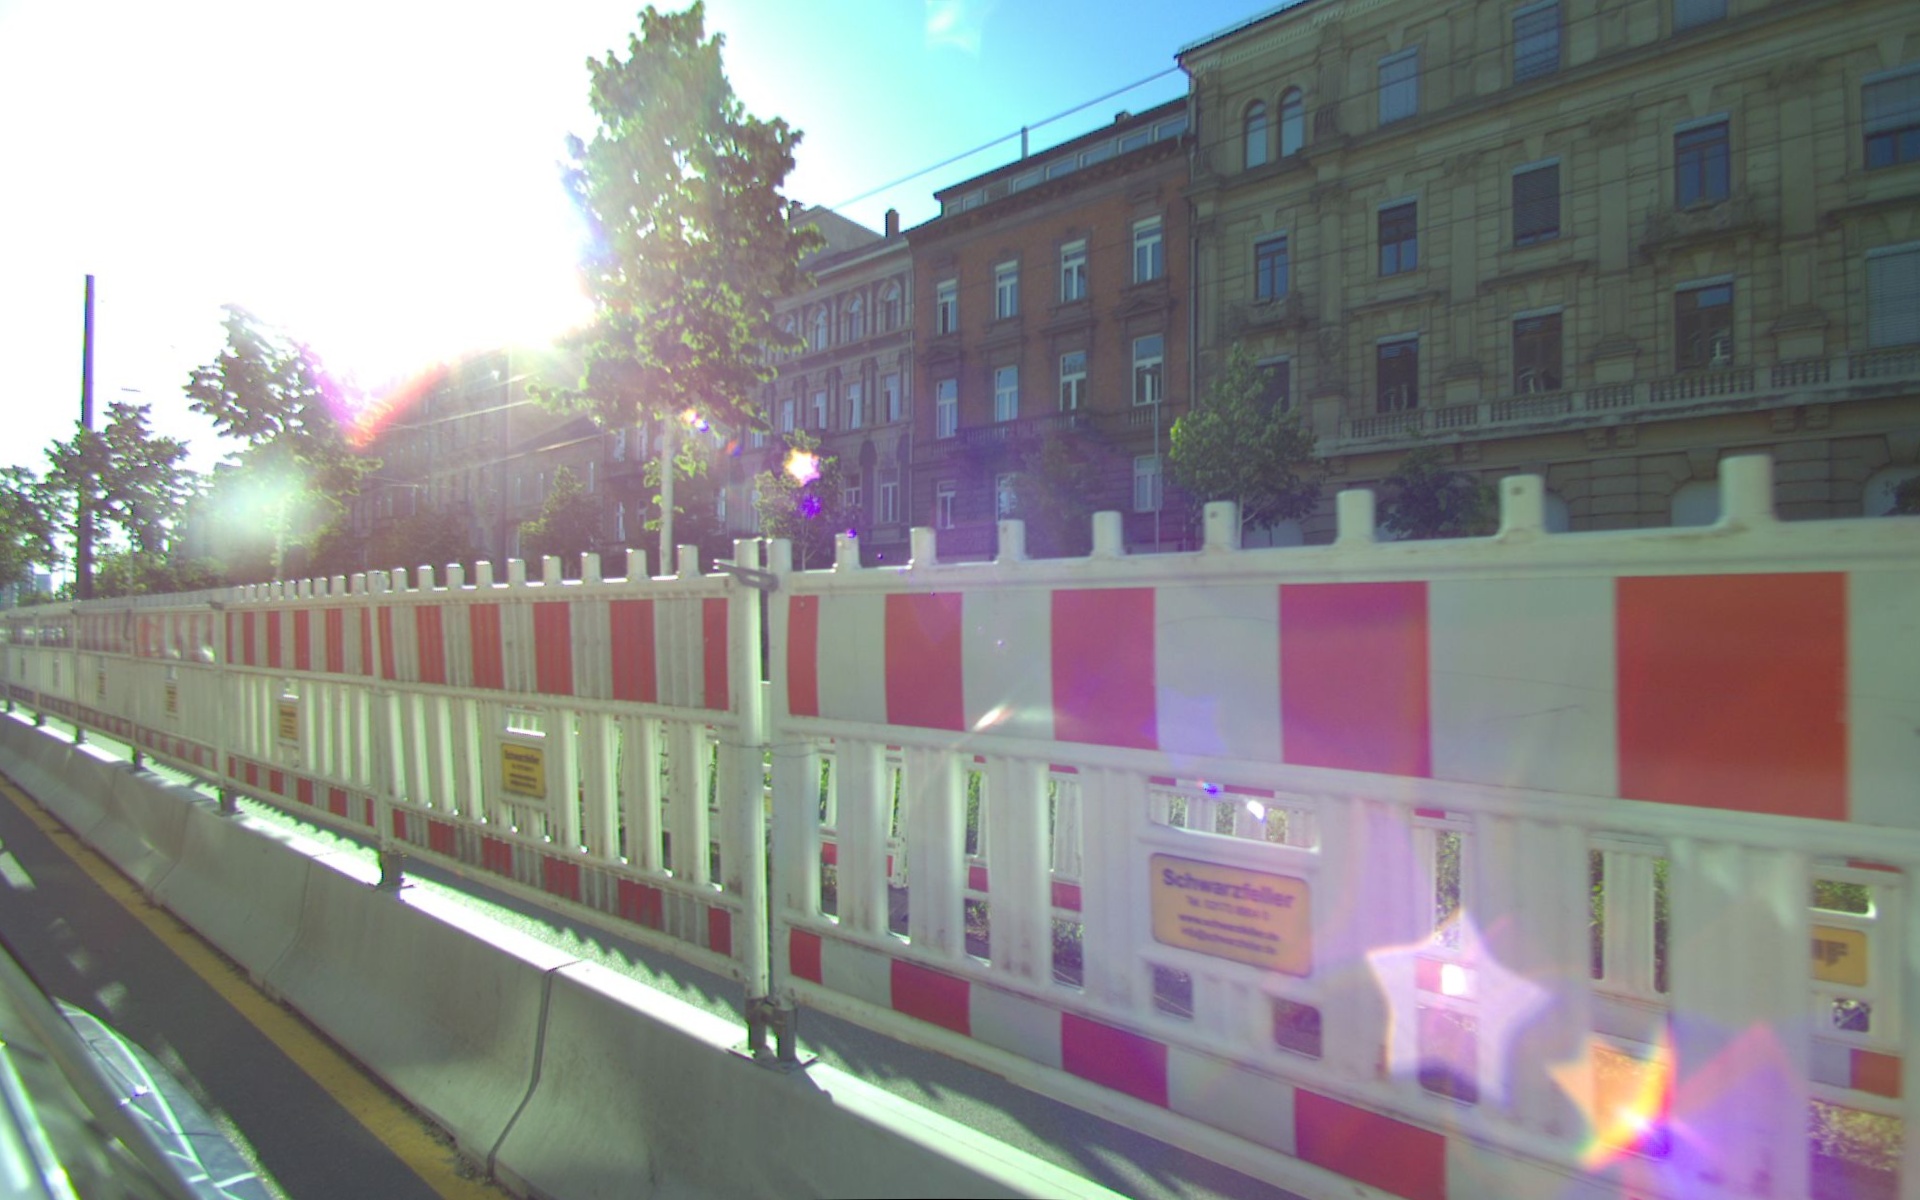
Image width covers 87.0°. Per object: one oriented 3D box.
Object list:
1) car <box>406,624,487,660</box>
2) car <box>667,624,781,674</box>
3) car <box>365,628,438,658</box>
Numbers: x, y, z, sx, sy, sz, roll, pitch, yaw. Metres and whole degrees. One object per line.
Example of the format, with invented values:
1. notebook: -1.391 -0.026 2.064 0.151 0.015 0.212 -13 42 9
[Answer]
1. car: -26.347 2.111 51.876 4.885 1.710 1.973 -1 0 41
2. car: -8.799 1.755 37.575 4.544 1.671 1.917 -1 0 43
3. car: -30.989 2.349 56.092 4.982 1.549 1.973 -1 0 42
